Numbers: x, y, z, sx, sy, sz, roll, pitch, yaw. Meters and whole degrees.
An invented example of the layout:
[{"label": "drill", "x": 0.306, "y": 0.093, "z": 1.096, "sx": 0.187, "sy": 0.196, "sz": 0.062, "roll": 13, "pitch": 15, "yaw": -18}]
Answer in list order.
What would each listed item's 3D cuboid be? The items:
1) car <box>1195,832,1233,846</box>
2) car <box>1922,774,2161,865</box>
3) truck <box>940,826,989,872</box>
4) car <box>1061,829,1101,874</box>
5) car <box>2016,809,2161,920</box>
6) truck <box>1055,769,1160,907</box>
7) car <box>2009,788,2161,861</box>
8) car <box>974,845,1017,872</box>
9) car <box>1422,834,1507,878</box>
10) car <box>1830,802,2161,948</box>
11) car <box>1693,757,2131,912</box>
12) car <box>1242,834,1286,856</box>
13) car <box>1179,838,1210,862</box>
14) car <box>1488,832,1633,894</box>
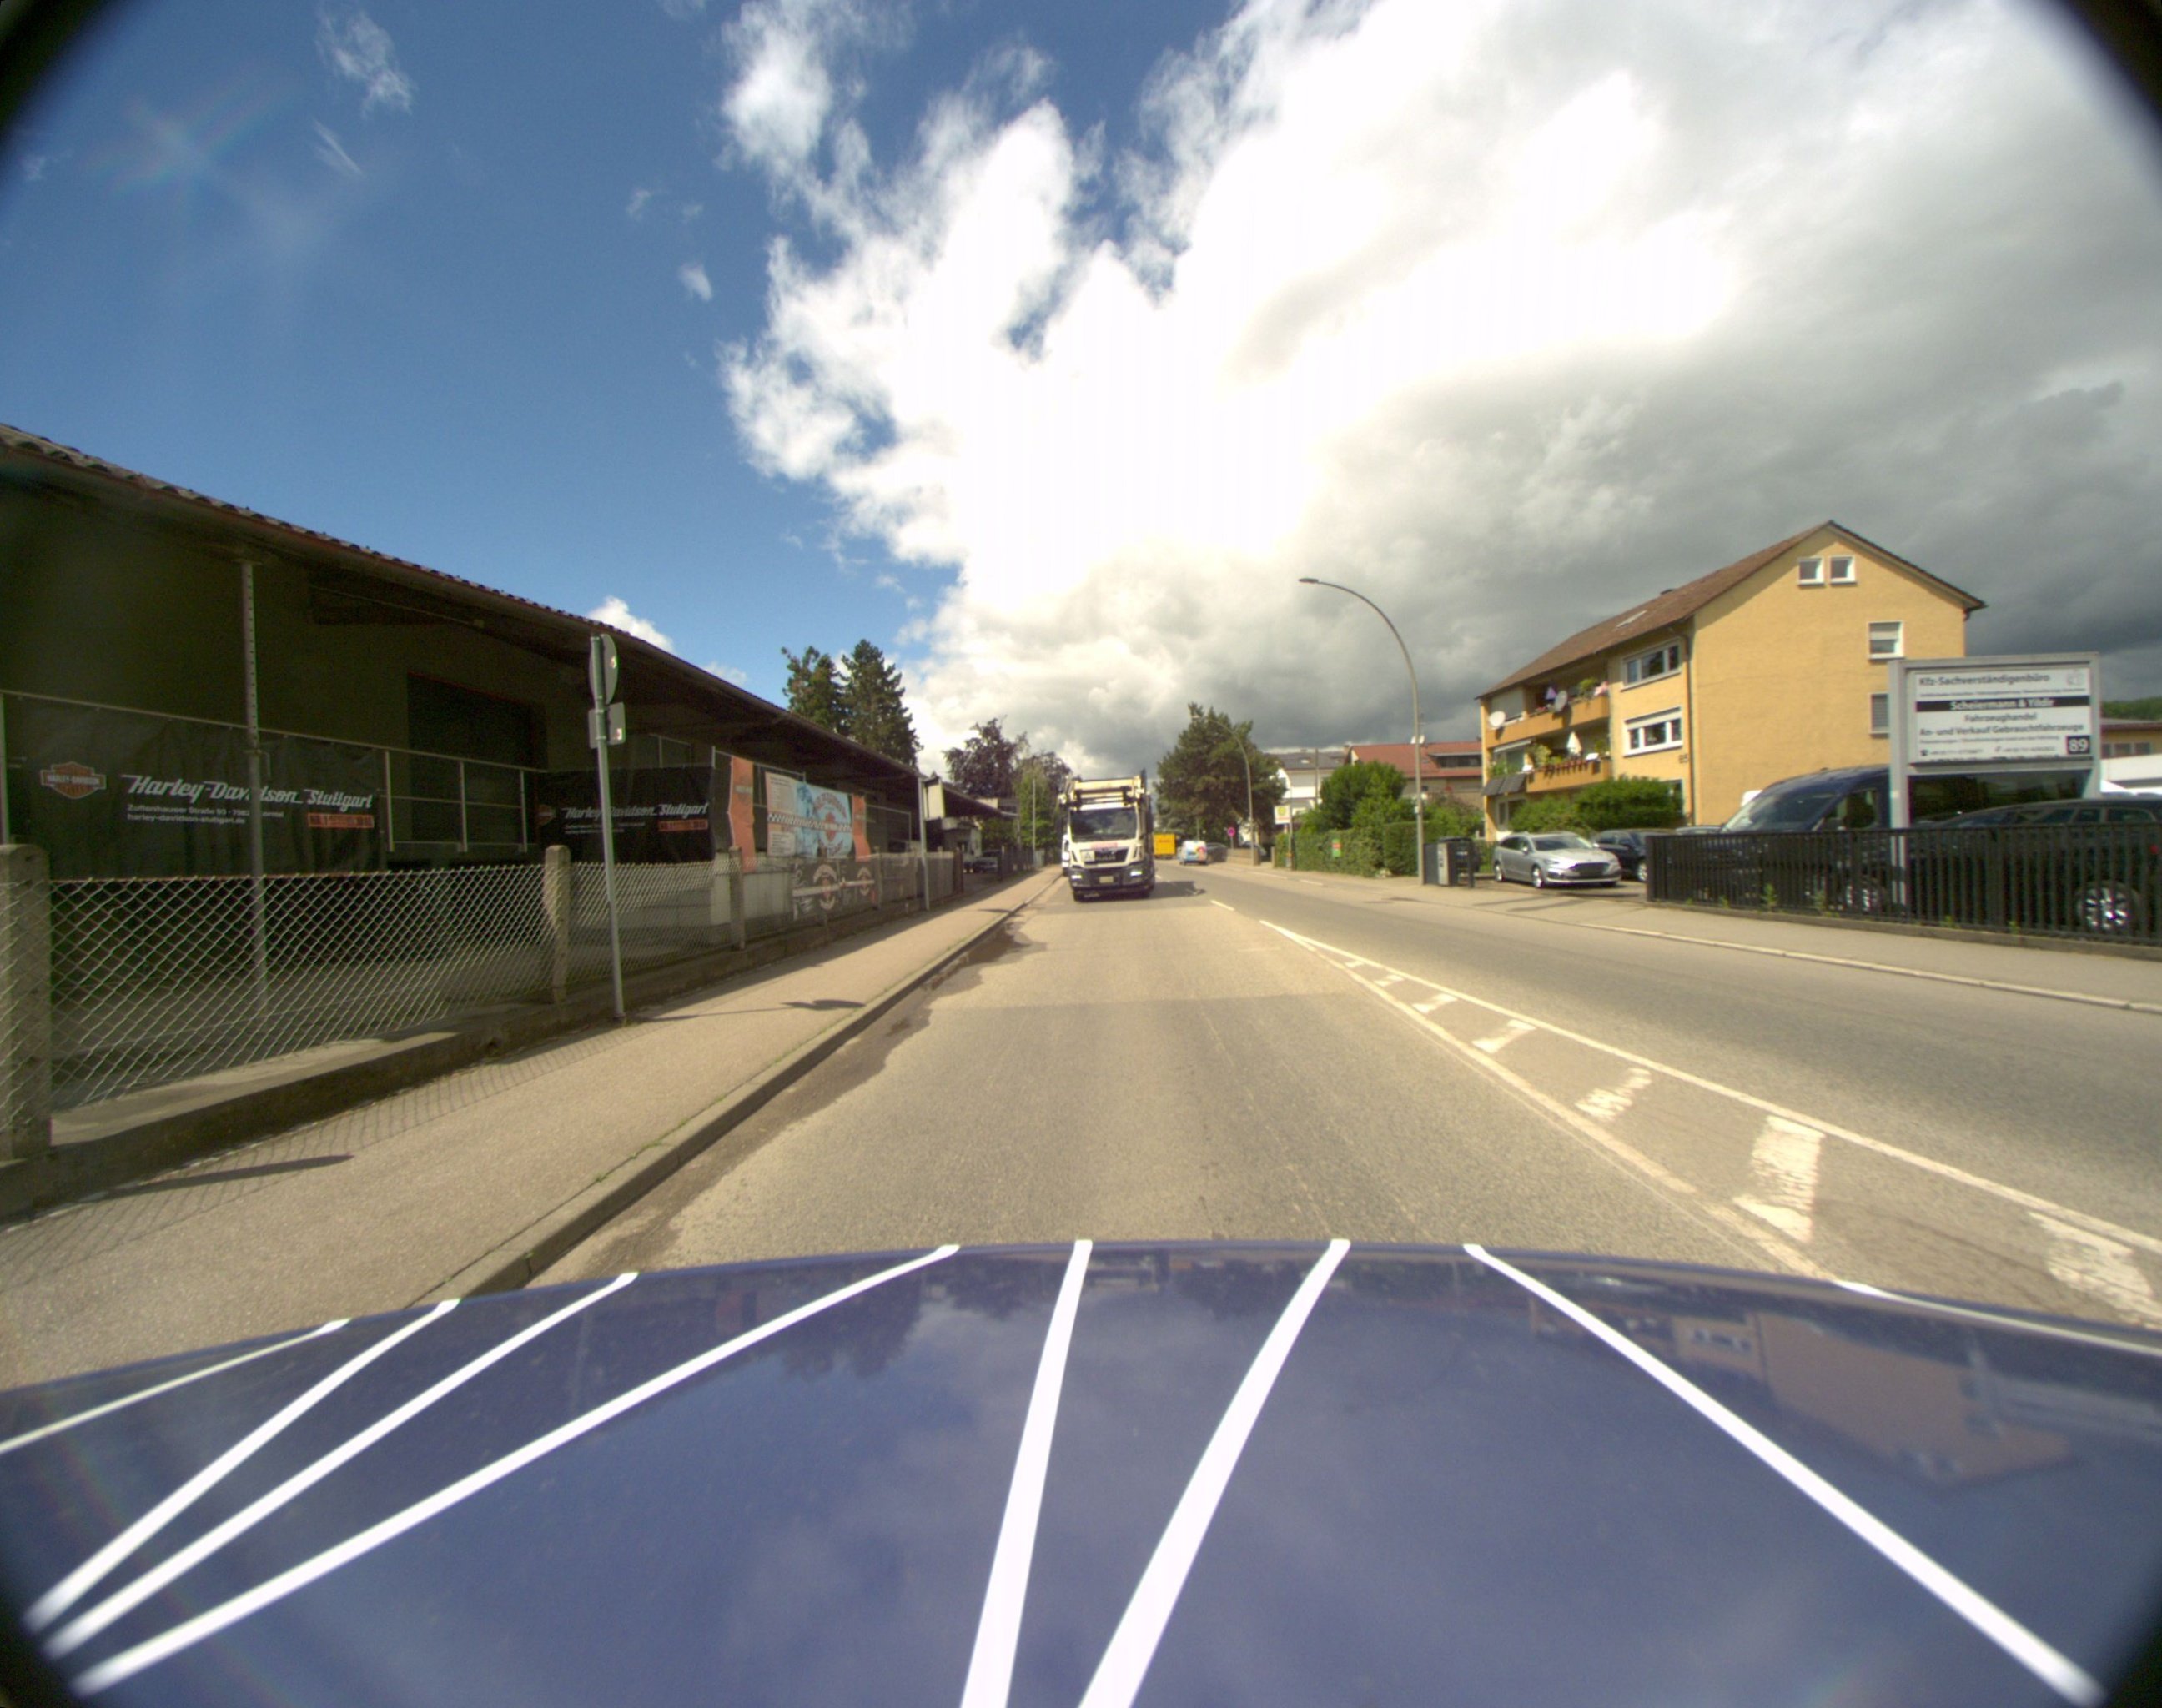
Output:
[{"label": "car", "x": 17.998, "y": -1.999, "z": 102.986, "sx": 4.734, "sy": 1.669, "sz": 2.218, "roll": -2, "pitch": 1, "yaw": 1}, {"label": "car", "x": 26.752, "y": -0.919, "z": 21.323, "sx": 1.998, "sy": 2.256, "sz": 4.000, "roll": -2, "pitch": 1, "yaw": 3}, {"label": "truck", "x": -7.618, "y": -0.382, "z": 50.242, "sx": 2.091, "sy": 2.812, "sz": 5.202, "roll": -2, "pitch": 1, "yaw": 3}, {"label": "car", "x": 0.058, "y": -0.185, "z": 46.850, "sx": 2.091, "sy": 2.519, "sz": 5.202, "roll": -2, "pitch": 1, "yaw": 3}, {"label": "car", "x": 15.286, "y": 0.128, "z": 9.729, "sx": 1.818, "sy": 1.451, "sz": 4.000, "roll": -2, "pitch": 1, "yaw": 3}, {"label": "truck", "x": 1.233, "y": -0.561, "z": 26.328, "sx": 2.663, "sy": 3.790, "sz": 9.818, "roll": -2, "pitch": 1, "yaw": 7}, {"label": "car", "x": 29.457, "y": -0.850, "z": 21.334, "sx": 1.998, "sy": 1.915, "sz": 4.000, "roll": -2, "pitch": 1, "yaw": 3}, {"label": "car", "x": -5.424, "y": 0.271, "z": 48.623, "sx": 1.862, "sy": 1.521, "sz": 5.202, "roll": -2, "pitch": 1, "yaw": 3}, {"label": "car", "x": 15.865, "y": 0.036, "z": 31.614, "sx": 1.830, "sy": 1.656, "sz": 3.522, "roll": -2, "pitch": 1, "yaw": 3}, {"label": "car", "x": 12.705, "y": 0.173, "z": 10.212, "sx": 1.813, "sy": 1.612, "sz": 3.621, "roll": -2, "pitch": 1, "yaw": 3}, {"label": "car", "x": 14.678, "y": -0.325, "z": 13.741, "sx": 5.363, "sy": 2.371, "sz": 2.104, "roll": -2, "pitch": 1, "yaw": 4}, {"label": "car", "x": 18.021, "y": -0.897, "z": 74.831, "sx": 2.003, "sy": 2.002, "sz": 3.990, "roll": -3, "pitch": 1, "yaw": -29}, {"label": "car", "x": 8.708, "y": -0.349, "z": 58.549, "sx": 1.729, "sy": 1.671, "sz": 3.999, "roll": -2, "pitch": 1, "yaw": 0}, {"label": "car", "x": 13.073, "y": 0.178, "z": 21.049, "sx": 1.887, "sy": 1.450, "sz": 4.352, "roll": -3, "pitch": 1, "yaw": 11}]
